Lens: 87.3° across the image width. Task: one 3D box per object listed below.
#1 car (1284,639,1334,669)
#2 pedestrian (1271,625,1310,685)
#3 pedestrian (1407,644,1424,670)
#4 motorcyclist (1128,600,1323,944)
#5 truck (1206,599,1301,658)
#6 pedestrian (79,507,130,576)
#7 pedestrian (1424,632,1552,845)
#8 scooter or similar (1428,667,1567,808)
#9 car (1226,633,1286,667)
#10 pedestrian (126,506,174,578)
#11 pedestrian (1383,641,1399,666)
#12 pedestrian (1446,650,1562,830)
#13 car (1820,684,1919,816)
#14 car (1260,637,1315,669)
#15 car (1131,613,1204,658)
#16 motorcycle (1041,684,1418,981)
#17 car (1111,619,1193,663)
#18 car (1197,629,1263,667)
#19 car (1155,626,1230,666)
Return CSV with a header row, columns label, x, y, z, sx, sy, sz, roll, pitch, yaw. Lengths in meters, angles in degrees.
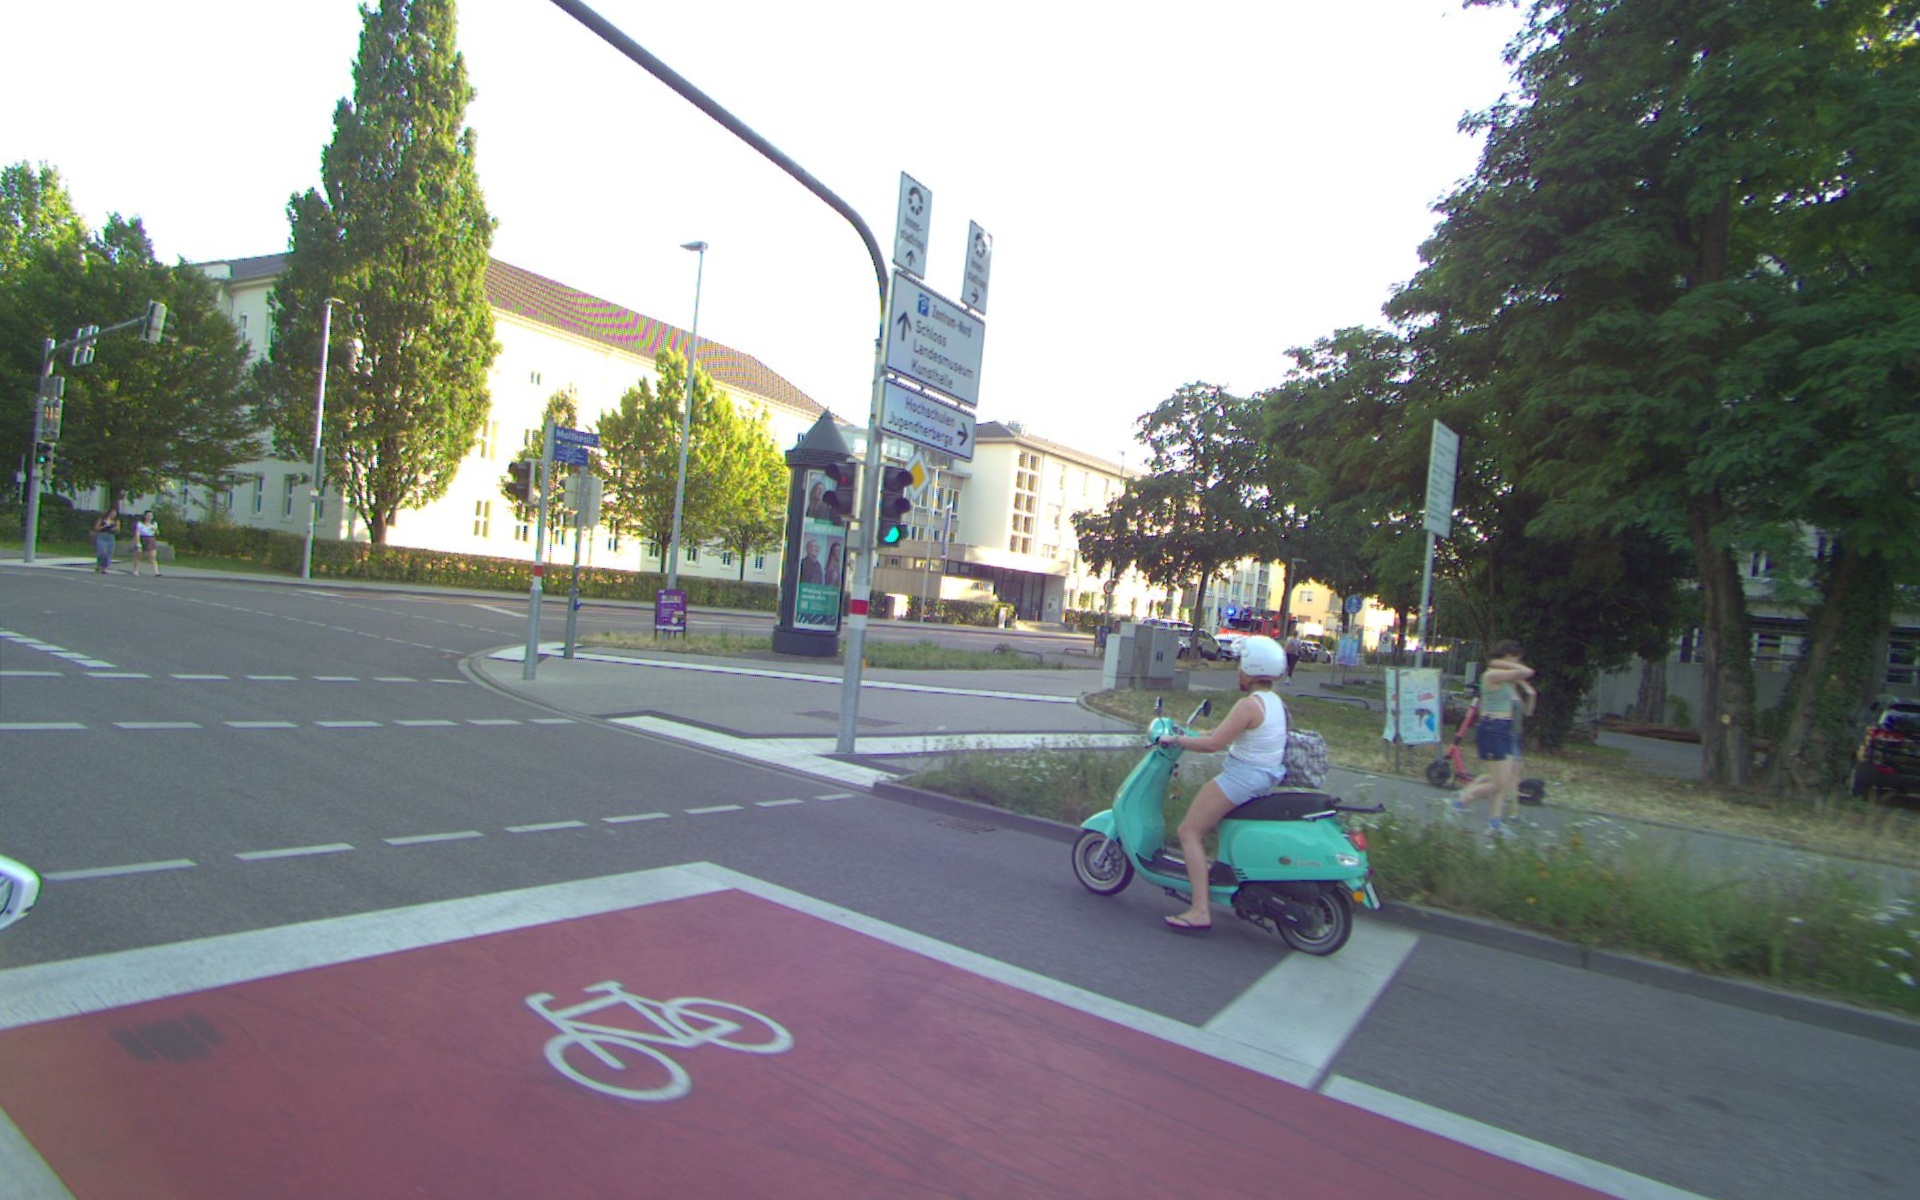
label,x,y,z,sx,sy,sz,roll,pitch,yaw
car,22.945,3.574,66.133,1.969,1.660,3.987,6,0,35
pedestrian,10.245,1.697,31.171,0.694,1.761,0.892,7,1,40
pedestrian,30.597,3.851,67.535,0.679,1.643,0.679,7,2,44
motorcyclist,1.536,0.936,5.791,0.680,1.759,0.738,7,1,37
truck,19.266,1.980,65.380,2.599,3.179,10.242,6,0,35
pedestrian,-21.913,-1.492,25.773,0.831,1.643,0.681,7,2,31
pedestrian,4.605,1.163,8.762,0.764,1.681,0.719,7,1,33
scooter or similar,5.687,1.423,10.663,1.159,1.288,0.440,6,1,31
car,17.056,2.874,57.860,1.969,1.660,3.987,6,0,35
pedestrian,-21.064,-1.500,26.175,0.677,1.777,0.681,7,2,31
pedestrian,29.301,3.629,68.346,0.679,1.643,0.679,7,2,44
pedestrian,5.186,1.294,9.585,0.776,1.542,0.735,7,1,33
car,15.119,2.344,15.872,1.890,1.762,4.223,6,0,37
car,20.026,3.226,61.452,1.969,1.660,3.987,6,0,35
car,11.029,1.911,53.189,2.024,1.884,4.486,6,-2,35
motorcycle,1.498,1.222,5.794,1.865,1.212,0.682,7,1,37
car,8.724,1.894,45.483,1.872,1.660,3.983,6,0,38
car,14.286,2.555,53.106,1.969,1.660,3.987,6,0,35
car,11.383,2.247,49.118,1.970,1.632,3.984,6,0,37
